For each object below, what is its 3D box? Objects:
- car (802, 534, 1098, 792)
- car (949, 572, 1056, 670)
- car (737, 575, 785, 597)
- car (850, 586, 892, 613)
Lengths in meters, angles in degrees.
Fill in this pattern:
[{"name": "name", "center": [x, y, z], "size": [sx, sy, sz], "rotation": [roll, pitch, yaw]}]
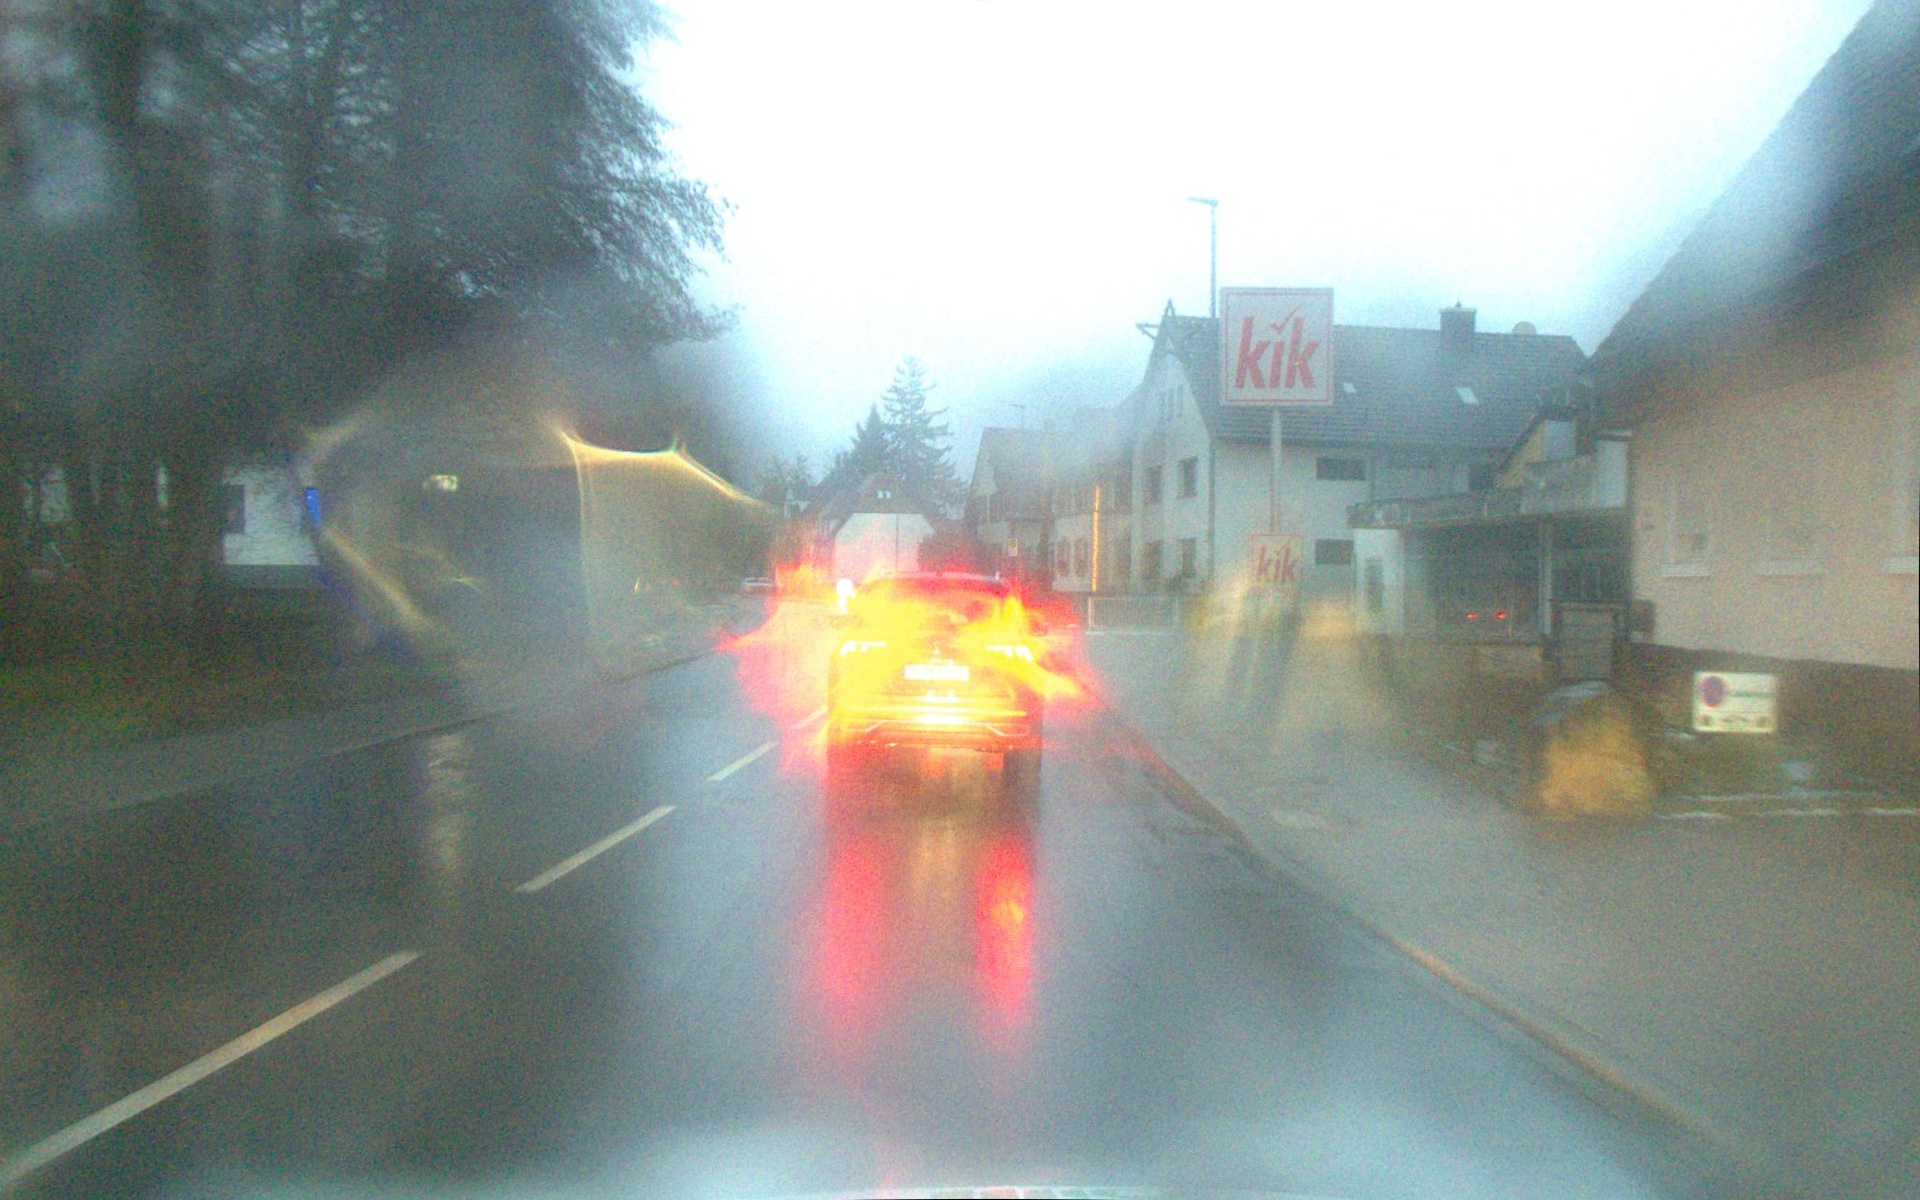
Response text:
[{"name": "car", "center": [-0.097, 0.485, 15.232], "size": [2.262, 1.972, 5.017], "rotation": [0, 0, -1]}, {"name": "car", "center": [0.736, 0.335, 31.176], "size": [1.820, 1.676, 4.000], "rotation": [2, 1, -1]}, {"name": "car", "center": [-18.174, -1.281, 151.006], "size": [4.173, 2.049, 1.805], "rotation": [0, 1, -13]}, {"name": "car", "center": [-4.528, -0.052, 84.101], "size": [1.808, 1.355, 3.930], "rotation": [0, 1, -8]}]
